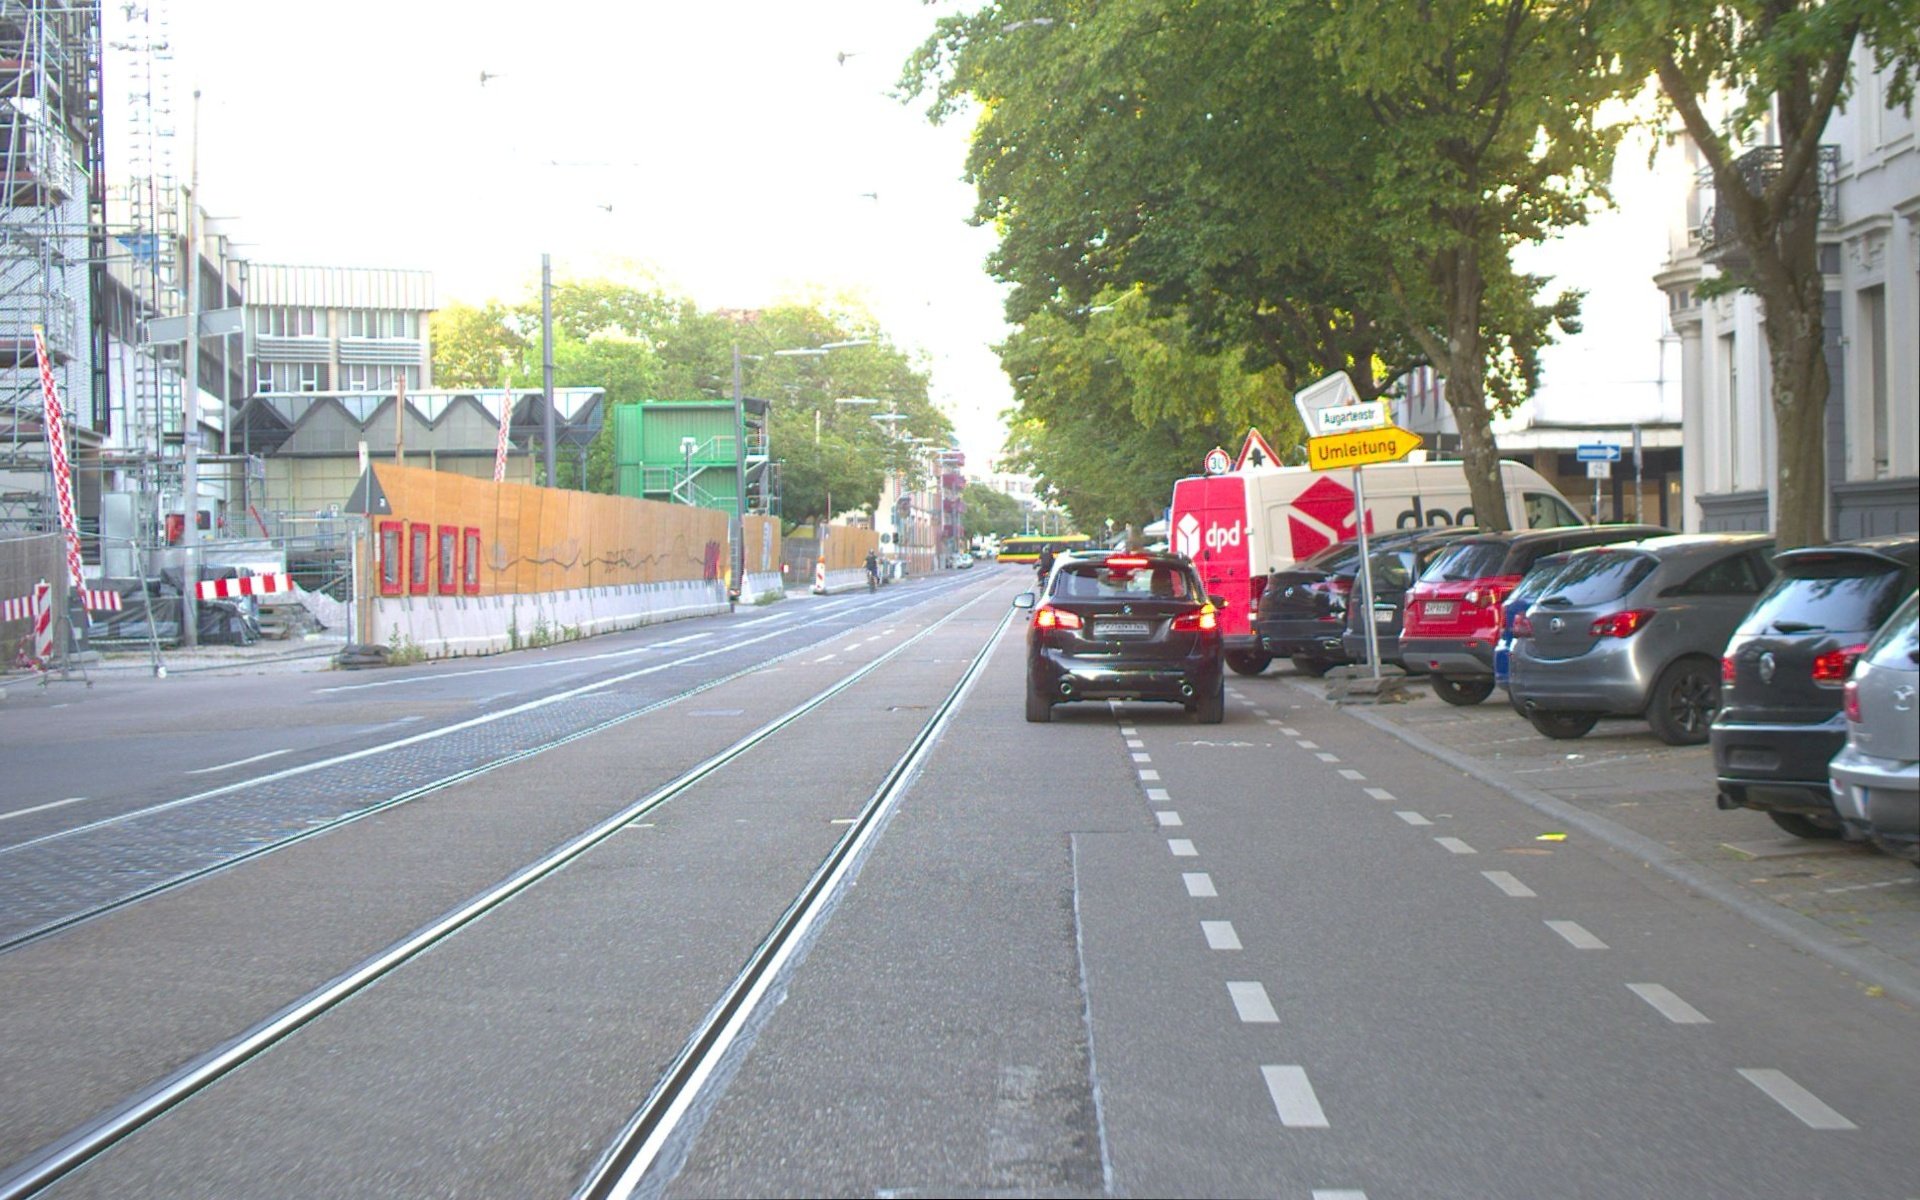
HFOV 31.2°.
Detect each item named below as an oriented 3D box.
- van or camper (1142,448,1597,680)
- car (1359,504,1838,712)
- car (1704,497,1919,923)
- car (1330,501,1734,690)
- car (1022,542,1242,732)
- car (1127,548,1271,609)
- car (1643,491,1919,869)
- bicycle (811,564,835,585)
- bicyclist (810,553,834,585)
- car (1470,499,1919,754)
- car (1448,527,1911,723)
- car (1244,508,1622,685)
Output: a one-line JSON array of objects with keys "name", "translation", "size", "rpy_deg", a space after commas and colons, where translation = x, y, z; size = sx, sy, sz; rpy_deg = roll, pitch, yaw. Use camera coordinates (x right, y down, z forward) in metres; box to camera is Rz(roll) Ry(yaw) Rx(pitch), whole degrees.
[{"name": "van or camper", "translation": [5.249, -0.480, 43.715], "size": [5.532, 2.522, 2.086], "rpy_deg": [-5, 1, -33]}, {"name": "car", "translation": [5.935, 0.064, 31.974], "size": [3.941, 1.598, 1.841], "rpy_deg": [-5, 1, -25]}, {"name": "car", "translation": [5.258, 0.312, 13.972], "size": [3.941, 1.598, 1.841], "rpy_deg": [-4, -1, -24]}, {"name": "car", "translation": [6.323, -0.059, 38.021], "size": [3.941, 1.759, 1.841], "rpy_deg": [-5, 1, -25]}, {"name": "car", "translation": [1.541, 0.291, 31.993], "size": [1.882, 1.614, 4.000], "rpy_deg": [1, 1, 1]}, {"name": "car", "translation": [7.082, -0.651, 102.028], "size": [3.941, 1.716, 1.635], "rpy_deg": [-1, 1, -12]}, {"name": "car", "translation": [5.413, 0.240, 16.149], "size": [3.942, 1.598, 1.841], "rpy_deg": [-4, 1, -26]}, {"name": "bicycle", "translation": [-5.829, -1.083, 146.177], "size": [0.948, 0.846, 2.697], "rpy_deg": [-1, 1, -1]}, {"name": "bicyclist", "translation": [-5.836, -1.303, 145.405], "size": [0.944, 1.341, 1.111], "rpy_deg": [-1, 1, -1]}, {"name": "car", "translation": [5.958, 0.146, 25.419], "size": [3.942, 1.598, 1.840], "rpy_deg": [-5, 1, -30]}, {"name": "car", "translation": [6.078, 0.204, 28.952], "size": [3.640, 1.440, 1.659], "rpy_deg": [-3, 0, -33]}, {"name": "car", "translation": [5.583, -0.047, 40.592], "size": [3.941, 1.759, 1.841], "rpy_deg": [-5, 1, -25]}]
